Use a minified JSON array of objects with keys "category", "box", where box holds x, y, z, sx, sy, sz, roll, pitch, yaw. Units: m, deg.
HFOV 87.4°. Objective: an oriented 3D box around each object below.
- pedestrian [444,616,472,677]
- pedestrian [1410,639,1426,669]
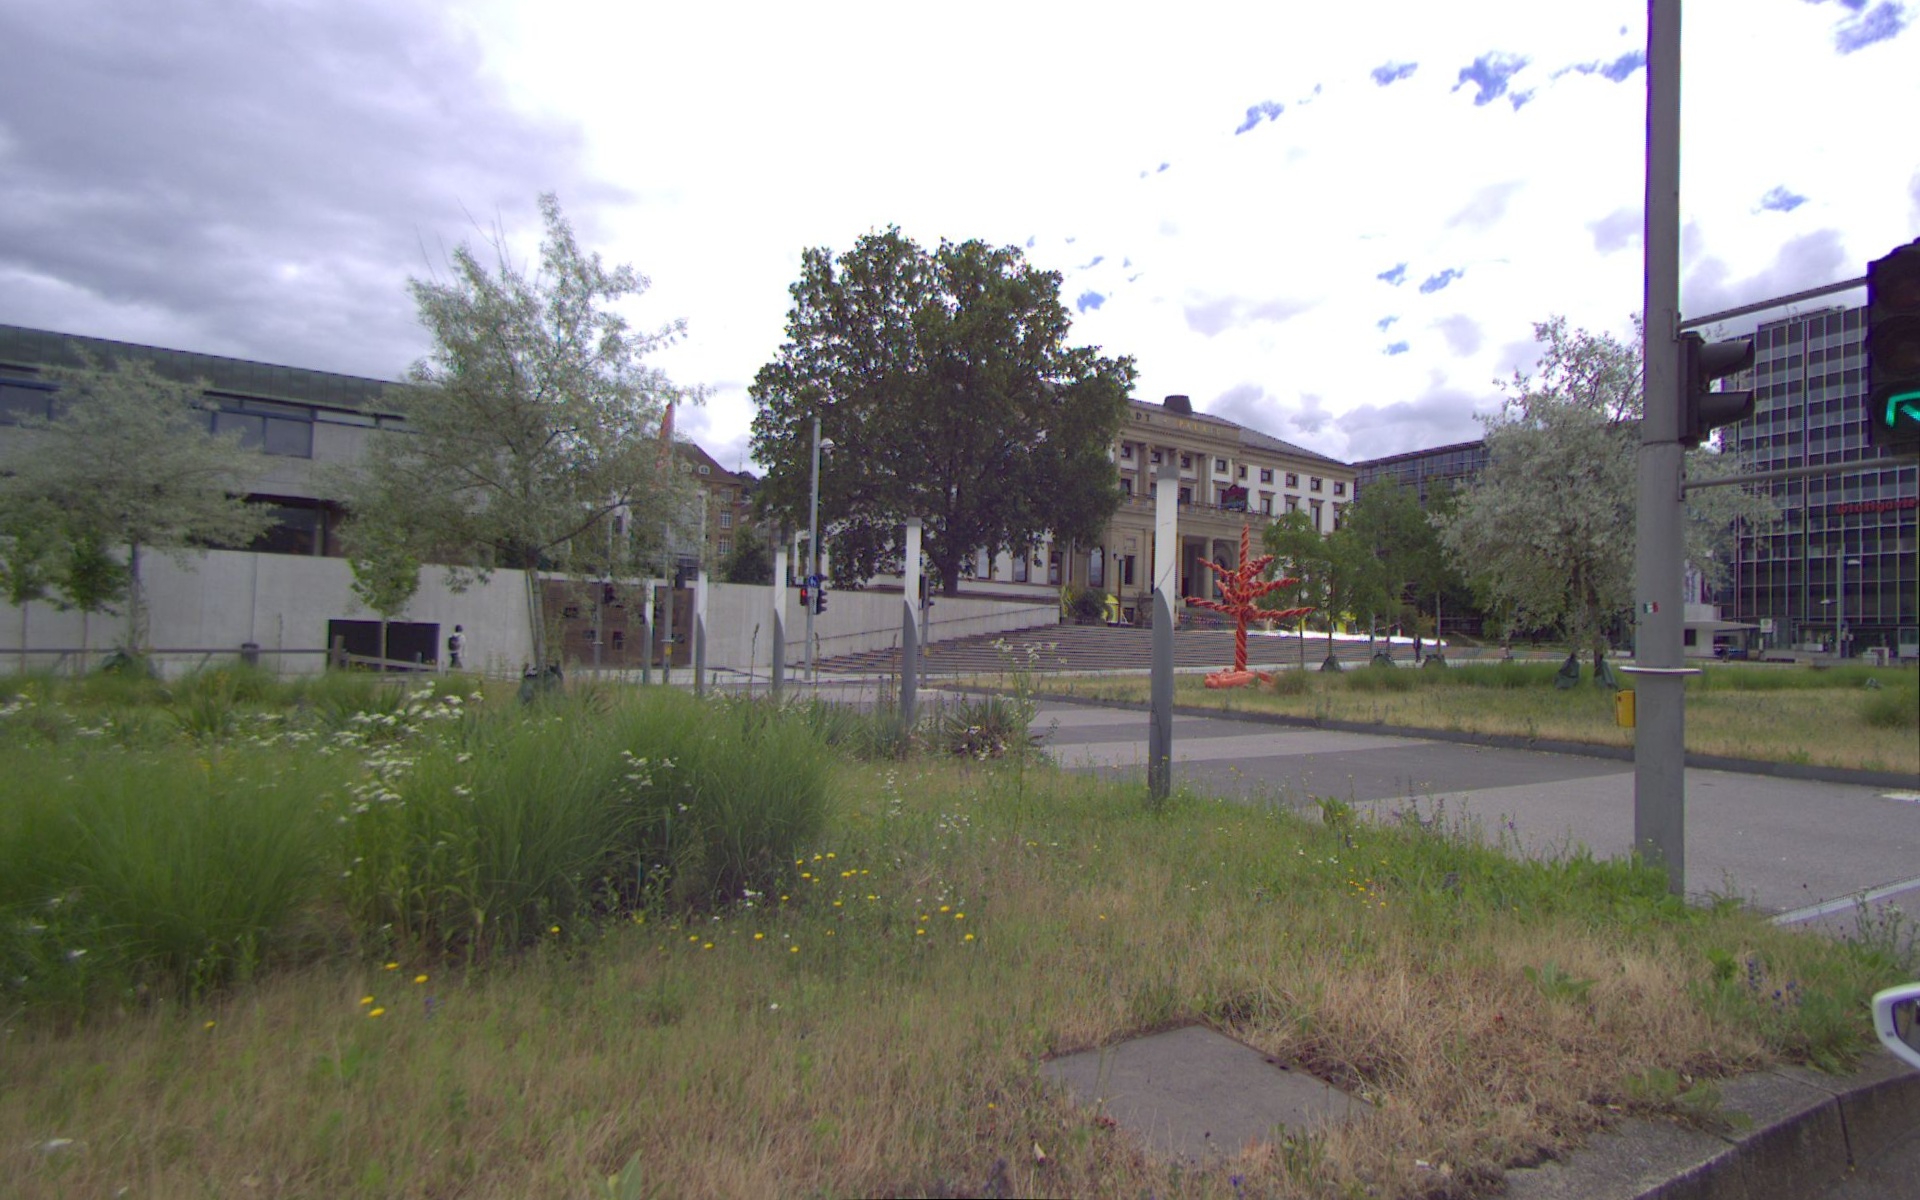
[{"category":"pedestrian","box":[-14.705,1.370,29.421,0.656,1.756,0.537,2,-1,-30]},{"category":"pedestrian","box":[25.905,3.075,56.774,0.643,1.671,0.521,2,-1,-31]}]
